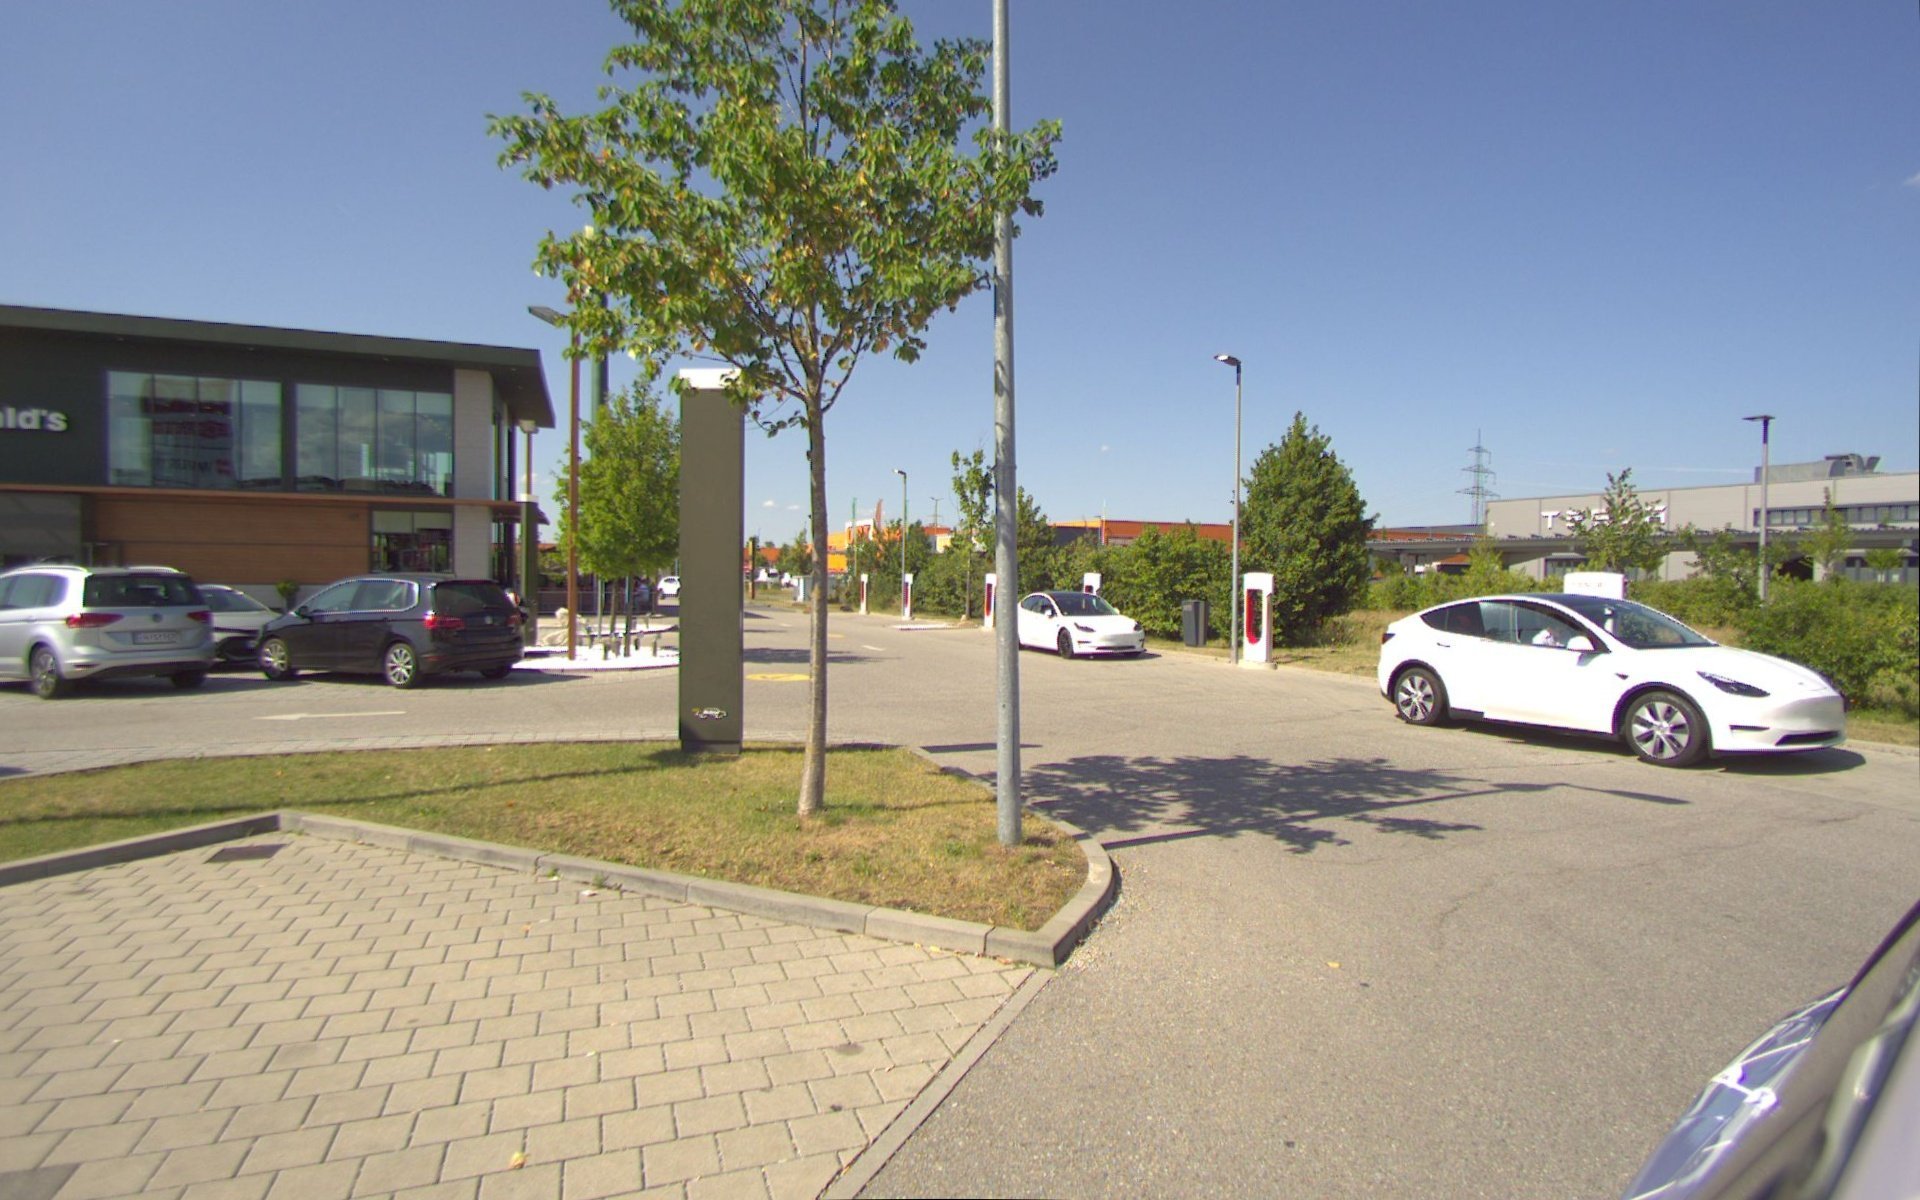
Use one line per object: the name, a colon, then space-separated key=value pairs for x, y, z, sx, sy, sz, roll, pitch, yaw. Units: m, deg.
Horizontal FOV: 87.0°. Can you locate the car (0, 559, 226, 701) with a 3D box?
car: x=-12.175 y=0.323 z=13.812 sx=4.072 sy=1.695 sz=1.798 roll=1 pitch=1 yaw=26

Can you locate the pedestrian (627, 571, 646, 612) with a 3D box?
pedestrian: x=-12.686 y=-0.347 z=39.633 sx=0.687 sy=1.579 sz=0.724 roll=0 pitch=1 yaw=-20

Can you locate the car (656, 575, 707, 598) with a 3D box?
car: x=-19.698 y=-0.973 z=71.589 sx=3.870 sy=1.581 sz=1.736 roll=1 pitch=1 yaw=44

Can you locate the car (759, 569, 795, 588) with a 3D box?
car: x=-22.456 y=-2.621 z=124.185 sx=3.916 sy=2.332 sz=2.004 roll=0 pitch=0 yaw=-23

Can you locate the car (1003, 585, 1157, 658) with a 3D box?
car: x=2.649 y=0.410 z=23.456 sx=1.803 sy=1.497 sz=4.342 roll=0 pitch=1 yaw=-20

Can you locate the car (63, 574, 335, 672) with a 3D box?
car: x=-13.174 y=0.316 z=17.489 sx=4.597 sy=1.505 sz=1.879 roll=1 pitch=1 yaw=26

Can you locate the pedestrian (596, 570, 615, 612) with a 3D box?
pedestrian: x=-13.623 y=-0.343 z=38.905 sx=0.687 sy=1.579 sz=0.724 roll=0 pitch=1 yaw=-20

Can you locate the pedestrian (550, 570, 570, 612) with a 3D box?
pedestrian: x=-15.245 y=-0.347 z=38.603 sx=0.687 sy=1.579 sz=0.724 roll=0 pitch=1 yaw=-20

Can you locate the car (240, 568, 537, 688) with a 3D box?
car: x=-8.352 y=0.342 z=14.801 sx=3.954 sy=1.571 sz=1.741 roll=1 pitch=0 yaw=23

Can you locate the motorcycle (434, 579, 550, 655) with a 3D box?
motorcycle: x=-8.716 y=0.287 z=18.841 sx=2.137 sy=1.341 sz=0.759 roll=1 pitch=1 yaw=24

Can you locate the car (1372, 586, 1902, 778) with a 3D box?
car: x=6.996 y=0.670 z=11.135 sx=1.804 sy=1.613 sz=4.585 roll=0 pitch=1 yaw=-24

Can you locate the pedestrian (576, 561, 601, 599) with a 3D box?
pedestrian: x=-15.579 y=-0.817 z=42.426 sx=0.699 sy=1.579 sz=0.711 roll=0 pitch=0 yaw=41

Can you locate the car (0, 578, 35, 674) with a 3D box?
car: x=-17.374 y=0.399 z=16.456 sx=4.597 sy=1.505 sz=1.879 roll=1 pitch=1 yaw=26

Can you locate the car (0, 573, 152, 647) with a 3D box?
car: x=-21.738 y=0.208 z=23.784 sx=1.698 sy=1.633 sz=4.005 roll=0 pitch=1 yaw=23
